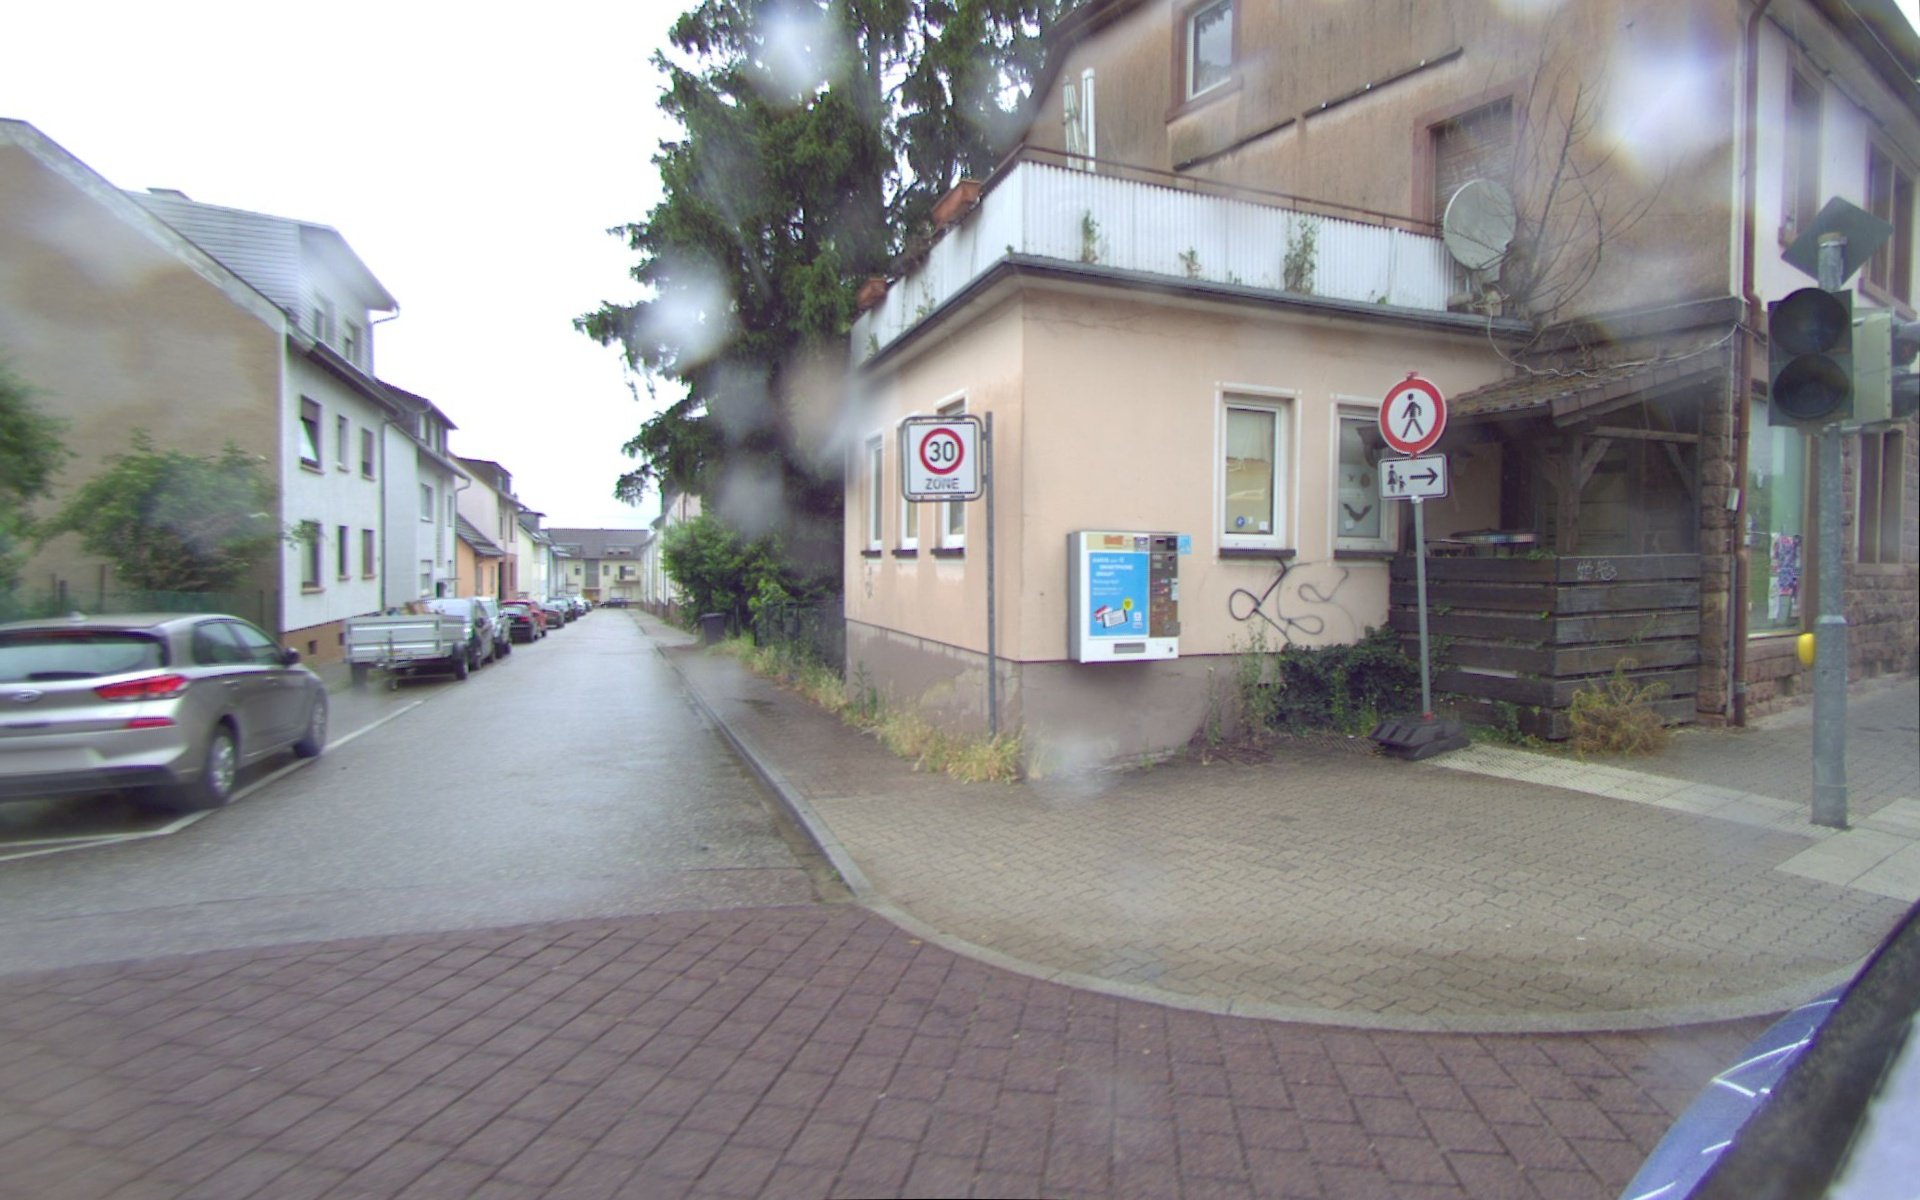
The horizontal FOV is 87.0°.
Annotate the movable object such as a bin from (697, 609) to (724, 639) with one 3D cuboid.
[{"bbox_3d":[-6.917,0.657,27.997,0.685,0.775,0.745,-1,1,-16],"label":"movable object such as a bin"}]

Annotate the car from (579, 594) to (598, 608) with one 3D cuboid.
[{"bbox_3d":[-46.203,0.133,125.961,1.958,1.590,4.105,-1,1,-18],"label":"car"}]

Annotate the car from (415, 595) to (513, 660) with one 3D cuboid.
[{"bbox_3d":[-13.585,0.685,27.960,1.958,1.590,4.105,-1,1,-20],"label":"car"}]

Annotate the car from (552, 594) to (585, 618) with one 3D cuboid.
[{"bbox_3d":[-28.143,0.421,72.821,1.958,1.590,4.105,-1,1,-18],"label":"car"}]

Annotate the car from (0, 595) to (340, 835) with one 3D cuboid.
[{"bbox_3d":[-6.693,0.734,8.456,1.755,1.490,4.009,0,1,-19],"label":"car"}]

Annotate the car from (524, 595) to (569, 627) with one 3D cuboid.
[{"bbox_3d":[-22.696,0.567,55.690,1.958,1.590,4.105,-1,1,-18],"label":"car"}]

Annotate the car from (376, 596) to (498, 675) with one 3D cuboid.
[{"bbox_3d":[-11.999,0.728,23.480,1.958,1.590,4.105,-1,1,-20],"label":"car"}]

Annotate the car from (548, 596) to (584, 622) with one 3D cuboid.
[{"bbox_3d":[-26.241,0.558,67.504,1.958,1.590,4.105,-1,1,-18],"label":"car"}]

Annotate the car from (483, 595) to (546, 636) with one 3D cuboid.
[{"bbox_3d":[-18.587,0.606,42.413,1.958,1.590,4.105,-1,1,-18],"label":"car"}]

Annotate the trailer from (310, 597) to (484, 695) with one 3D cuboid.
[{"bbox_3d":[-10.517,0.752,19.288,1.961,1.586,4.557,-1,1,-17],"label":"trailer"}]

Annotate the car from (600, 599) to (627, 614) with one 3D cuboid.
[{"bbox_3d":[-50.570,0.940,147.669,3.690,2.038,1.908,-1,2,-21],"label":"car"}]

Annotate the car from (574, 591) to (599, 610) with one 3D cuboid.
[{"bbox_3d":[-34.263,0.022,92.889,1.958,1.590,4.105,-1,1,-18],"label":"car"}]

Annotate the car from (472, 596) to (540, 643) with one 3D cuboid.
[{"bbox_3d":[-16.927,0.688,37.905,1.958,1.590,4.105,-1,1,-20],"label":"car"}]
